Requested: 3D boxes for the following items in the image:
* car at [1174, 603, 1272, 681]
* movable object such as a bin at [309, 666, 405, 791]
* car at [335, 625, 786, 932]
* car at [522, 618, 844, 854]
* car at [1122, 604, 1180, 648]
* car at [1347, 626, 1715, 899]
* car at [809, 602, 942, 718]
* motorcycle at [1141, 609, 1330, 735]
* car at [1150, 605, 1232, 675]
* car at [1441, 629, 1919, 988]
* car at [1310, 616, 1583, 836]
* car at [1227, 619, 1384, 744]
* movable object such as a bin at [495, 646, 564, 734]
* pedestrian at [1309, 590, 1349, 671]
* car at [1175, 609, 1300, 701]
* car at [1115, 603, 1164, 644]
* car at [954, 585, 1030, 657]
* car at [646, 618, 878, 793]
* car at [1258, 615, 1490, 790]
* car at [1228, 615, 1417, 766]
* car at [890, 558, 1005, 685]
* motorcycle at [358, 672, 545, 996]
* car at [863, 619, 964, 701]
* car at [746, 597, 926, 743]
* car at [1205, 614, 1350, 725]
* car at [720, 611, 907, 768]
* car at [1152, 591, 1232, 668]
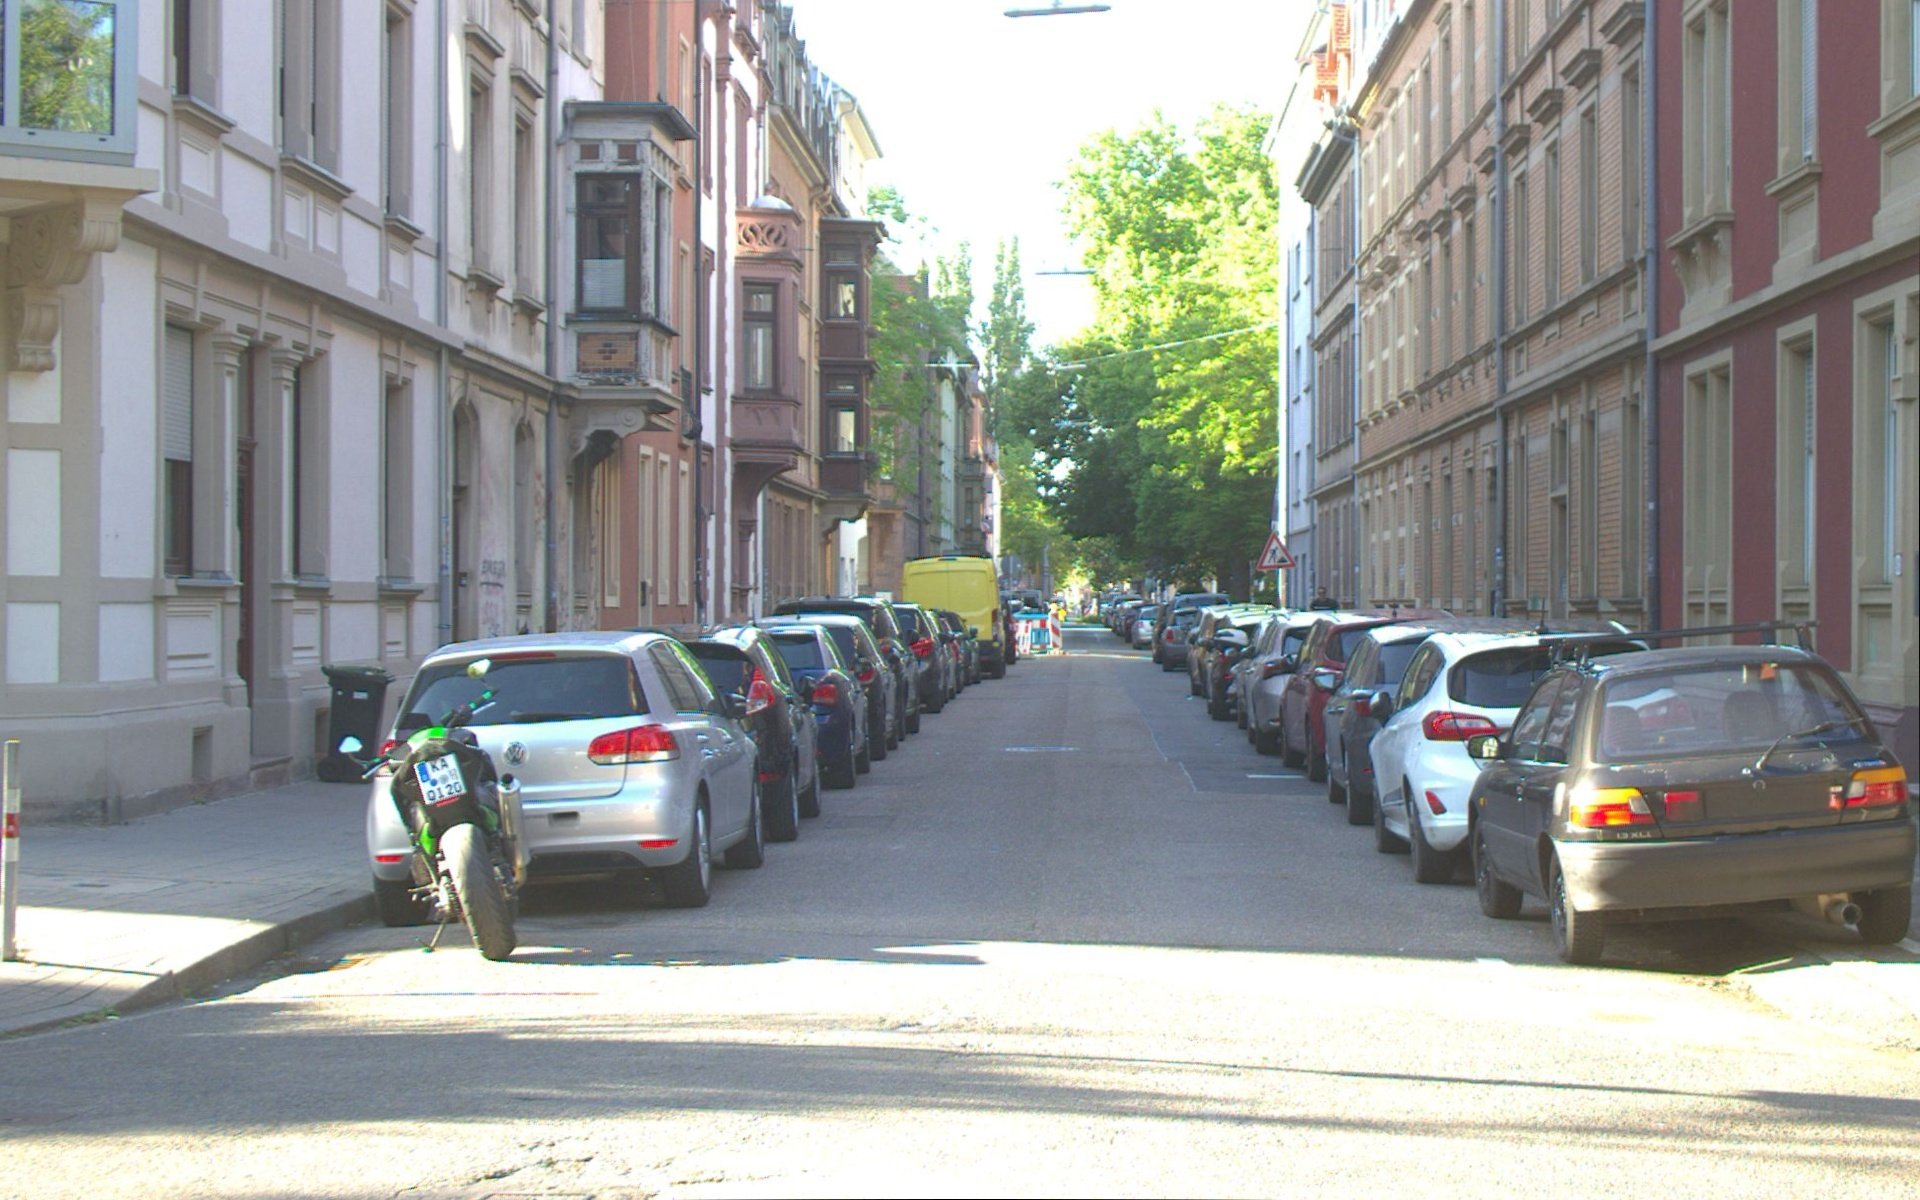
[{"bbox_3d":[5.637,0.881,74.178,1.754,1.513,4.443,-4,0,1],"label":"car"},{"bbox_3d":[-4.763,1.009,27.164,0.621,0.952,0.511,2,0,2],"label":"movable object such as a bin"},{"bbox_3d":[-2.110,0.909,19.213,1.781,1.478,3.931,1,0,4],"label":"car"},{"bbox_3d":[-1.857,0.888,24.090,1.781,1.478,3.742,1,0,3],"label":"car"},{"bbox_3d":[6.627,0.892,119.601,1.723,1.517,4.000,0,0,-1],"label":"car"},{"bbox_3d":[3.399,0.919,21.113,1.705,1.457,3.970,1,0,2],"label":"car"},{"bbox_3d":[-1.198,0.844,50.232,1.781,1.600,4.069,1,0,1],"label":"car"},{"bbox_3d":[3.567,0.934,44.536,2.218,1.531,0.890,3,0,-24],"label":"motorcycle"},{"bbox_3d":[5.367,0.911,80.082,1.754,1.448,4.287,-4,0,4],"label":"car"},{"bbox_3d":[3.392,0.909,16.590,1.668,1.478,3.706,1,0,1],"label":"car"},{"bbox_3d":[3.657,0.900,26.434,1.677,1.498,4.068,1,0,3],"label":"car"},{"bbox_3d":[4.176,0.964,42.048,1.692,1.401,3.992,0,0,3],"label":"car"},{"bbox_3d":[-4.597,0.955,36.726,0.612,0.917,0.734,1,0,2],"label":"movable object such as a bin"},{"bbox_3d":[7.478,0.622,69.719,0.653,1.625,0.880,-1,-1,-3],"label":"pedestrian"},{"bbox_3d":[4.689,0.910,58.592,1.754,1.441,4.069,-3,0,0],"label":"car"},{"bbox_3d":[7.342,0.968,140.872,1.894,1.620,4.000,1,0,1],"label":"car"},{"bbox_3d":[0.781,0.518,86.917,1.818,1.760,4.335,1,0,-1],"label":"car"},{"bbox_3d":[-1.683,0.881,30.333,1.781,1.398,3.742,1,0,1],"label":"car"},{"bbox_3d":[3.790,0.905,32.046,1.659,1.474,4.025,0,0,0],"label":"car"},{"bbox_3d":[3.840,0.925,36.993,1.762,1.479,4.401,0,0,3],"label":"car"},{"bbox_3d":[-0.211,0.434,72.313,2.175,2.499,5.878,-2,0,2],"label":"car"},{"bbox_3d":[-2.325,1.037,15.913,0.676,1.329,2.001,-2,0,-5],"label":"motorcycle"},{"bbox_3d":[-0.802,1.041,60.929,1.618,1.322,3.612,-2,0,1],"label":"car"},{"bbox_3d":[-1.408,0.777,40.508,1.761,1.612,4.188,0,0,3],"label":"car"},{"bbox_3d":[4.356,0.929,47.606,1.777,1.392,4.317,1,0,3],"label":"car"},{"bbox_3d":[-1.451,0.877,35.322,1.643,1.451,3.839,-2,0,1],"label":"car"},{"bbox_3d":[5.746,0.701,85.508,1.754,1.780,4.723,-2,0,2],"label":"car"}]
